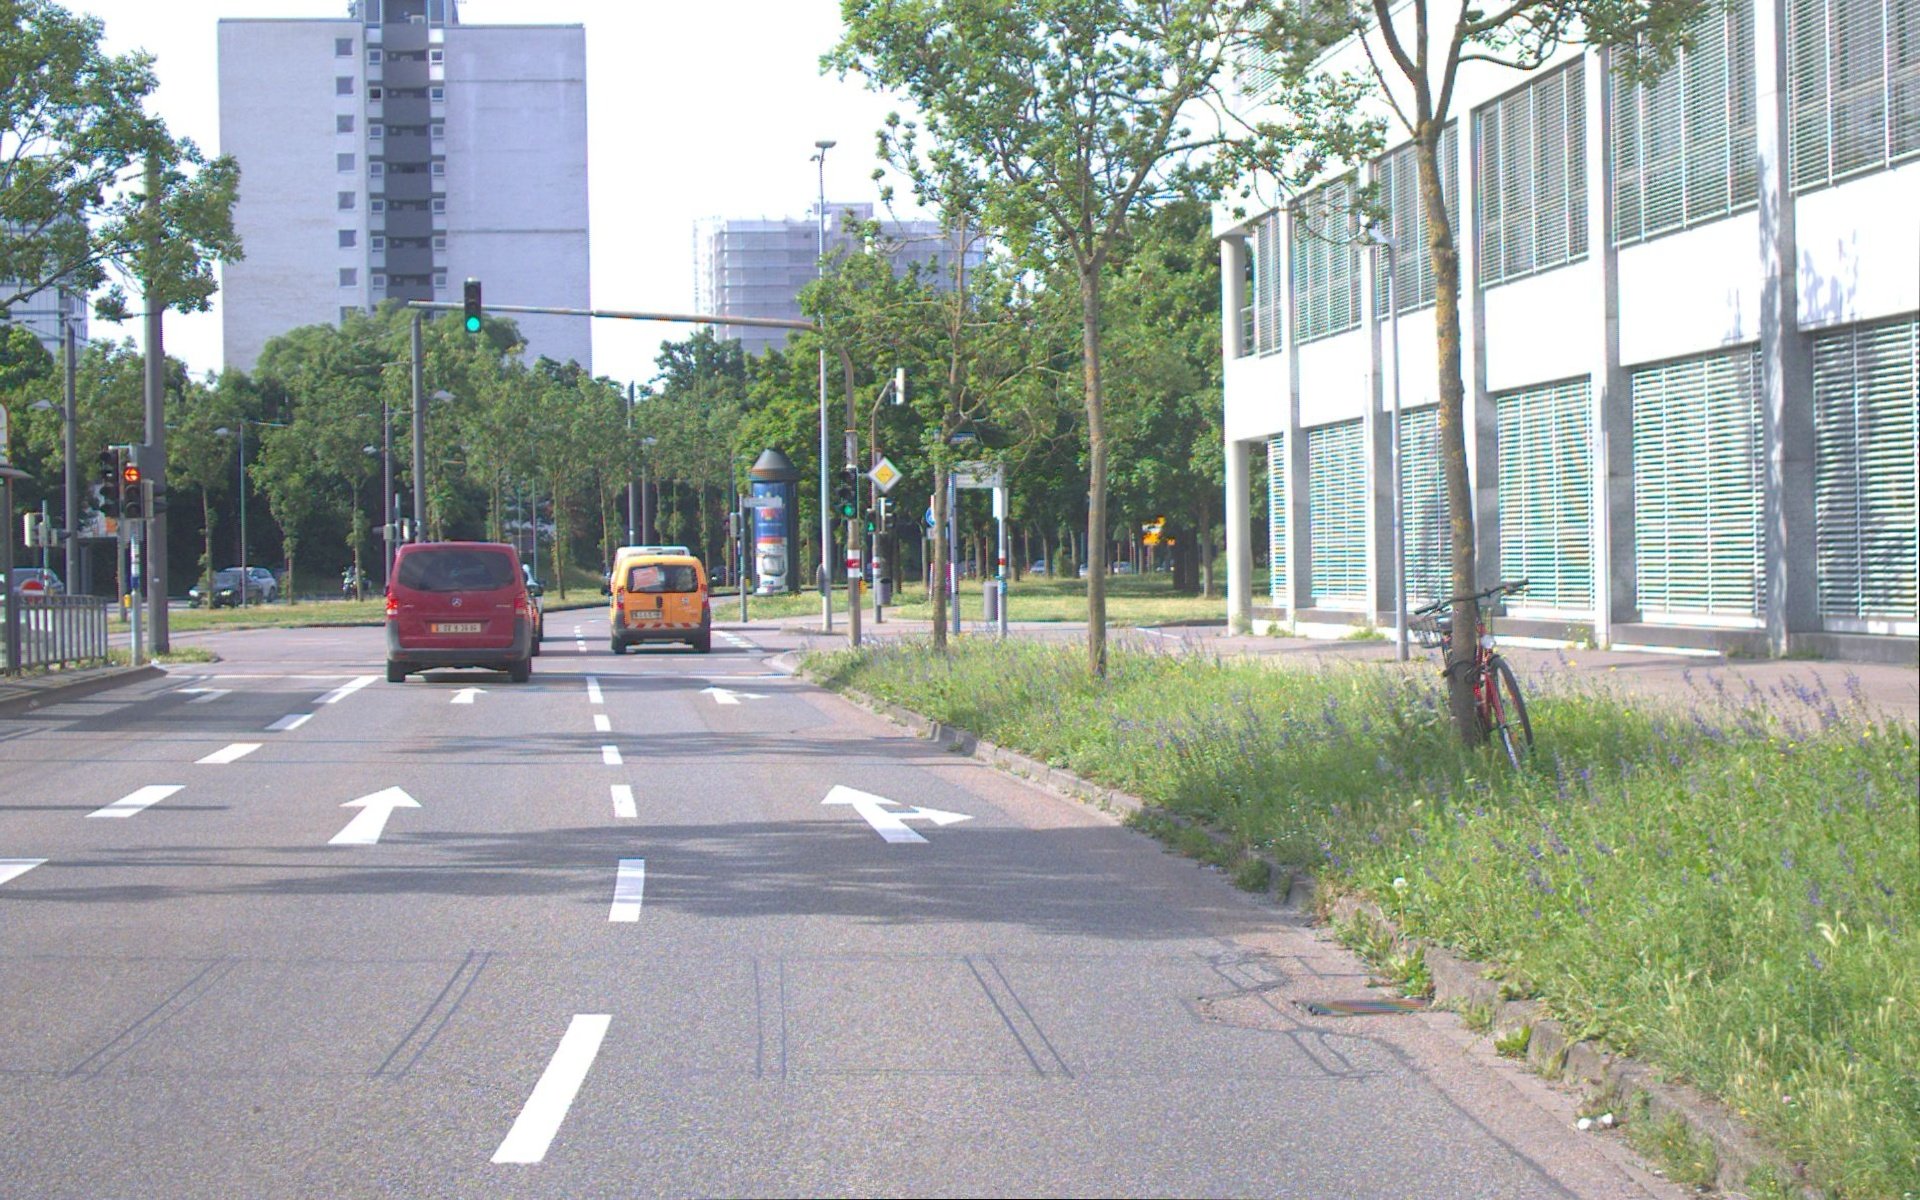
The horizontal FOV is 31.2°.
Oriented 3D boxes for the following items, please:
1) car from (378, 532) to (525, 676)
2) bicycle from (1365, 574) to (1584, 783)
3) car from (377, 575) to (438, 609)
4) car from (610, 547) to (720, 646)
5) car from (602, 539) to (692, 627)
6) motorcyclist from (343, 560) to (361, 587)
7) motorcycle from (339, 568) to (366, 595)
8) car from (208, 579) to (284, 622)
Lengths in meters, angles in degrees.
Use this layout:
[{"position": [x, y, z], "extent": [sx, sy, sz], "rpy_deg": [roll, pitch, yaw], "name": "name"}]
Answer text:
[{"position": [-6.882, 0.044, 46.705], "extent": [1.874, 1.847, 4.001], "rpy_deg": [0, 0, -8], "name": "car"}, {"position": [2.629, 0.380, 17.767], "extent": [0.617, 1.013, 1.880], "rpy_deg": [0, 0, -8], "name": "bicycle"}, {"position": [-26.222, -0.374, 163.352], "extent": [1.875, 1.568, 3.999], "rpy_deg": [0, 0, 6], "name": "car"}, {"position": [-5.264, -0.070, 60.999], "extent": [1.875, 1.690, 3.974], "rpy_deg": [0, 0, -6], "name": "car"}, {"position": [-7.419, -0.392, 81.273], "extent": [1.993, 2.007, 4.001], "rpy_deg": [1, 0, -7], "name": "car"}, {"position": [-26.172, -1.131, 148.007], "extent": [0.620, 1.163, 0.551], "rpy_deg": [0, 0, 7], "name": "motorcyclist"}, {"position": [-26.158, -0.809, 148.060], "extent": [0.637, 1.163, 1.643], "rpy_deg": [0, 0, 7], "name": "motorcycle"}, {"position": [-27.288, 0.018, 131.540], "extent": [1.875, 1.568, 3.999], "rpy_deg": [1, 0, 3], "name": "car"}]
